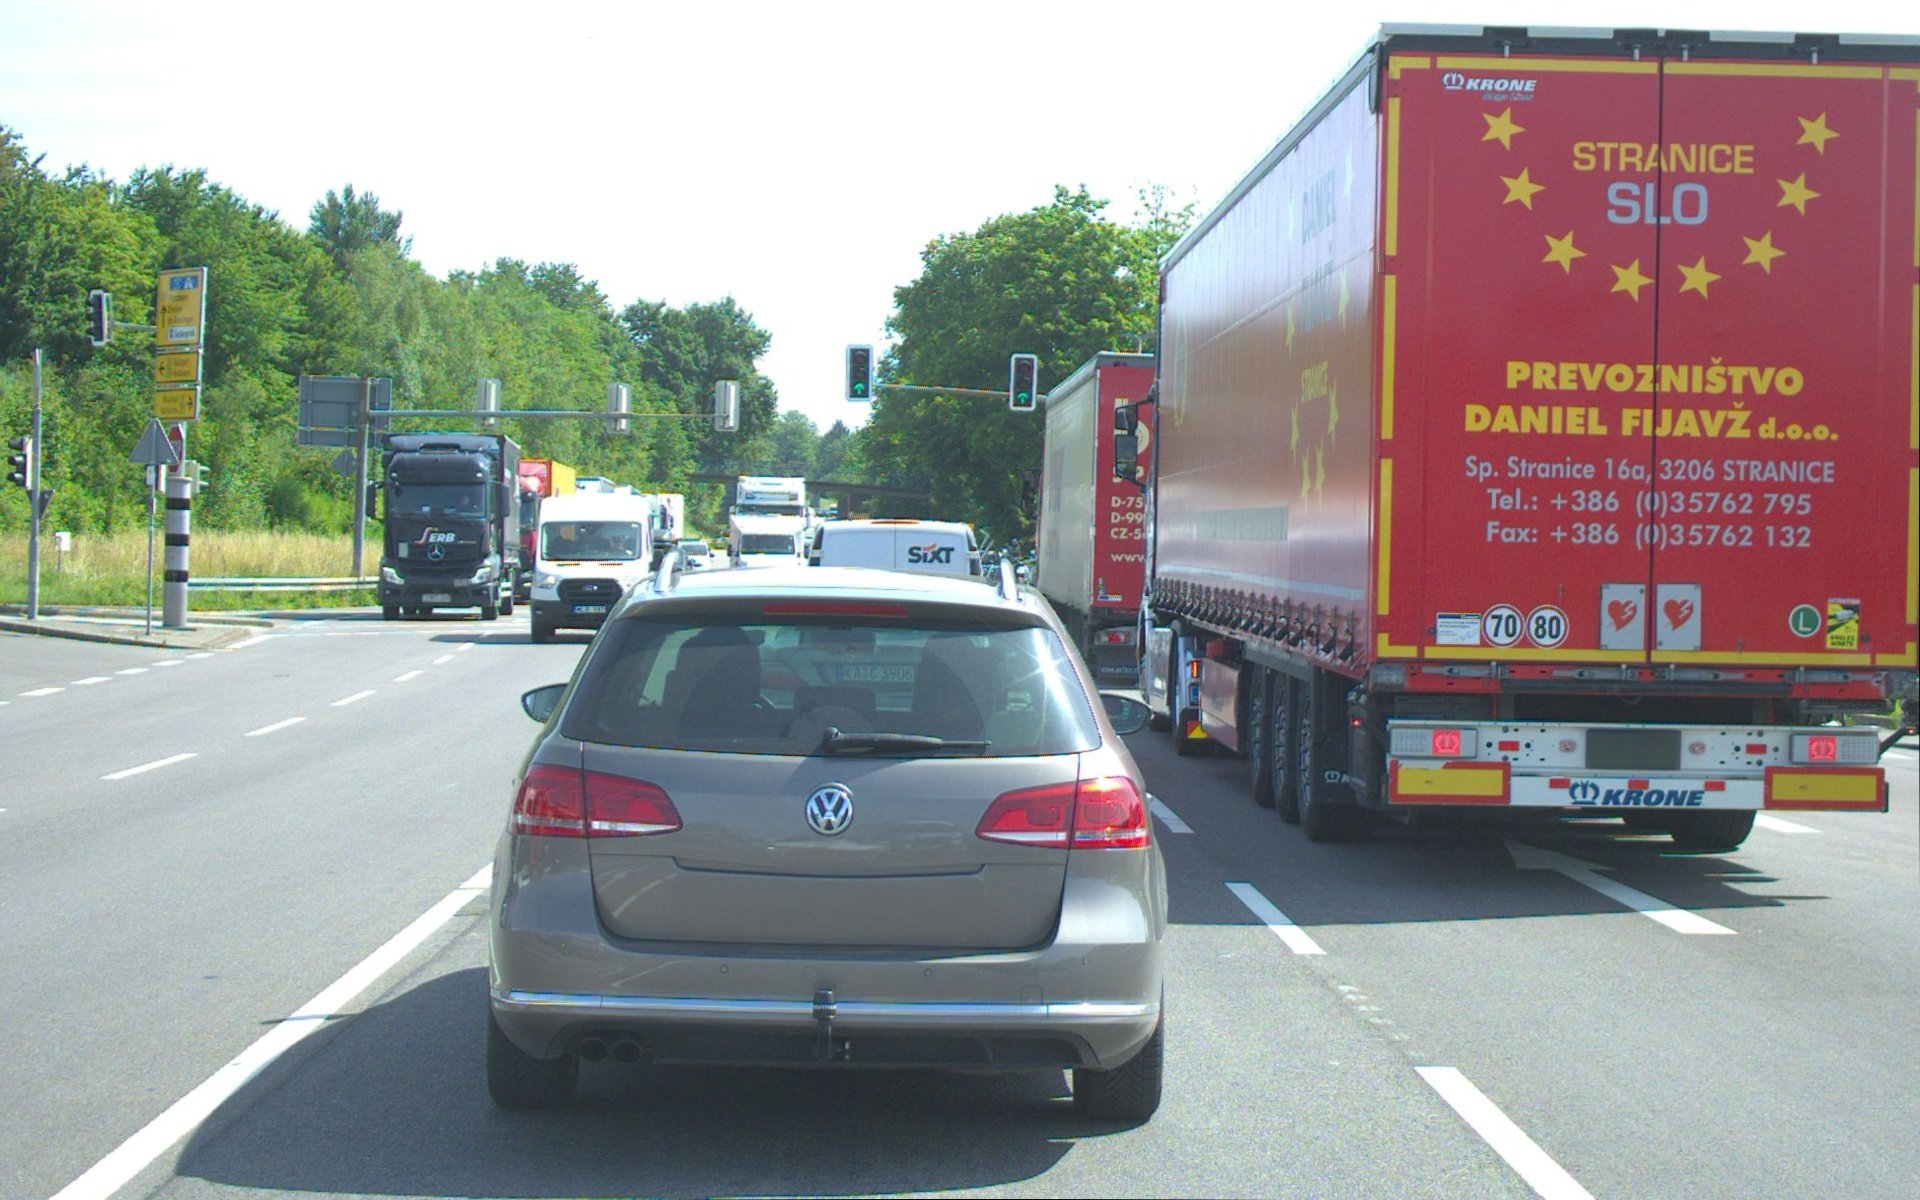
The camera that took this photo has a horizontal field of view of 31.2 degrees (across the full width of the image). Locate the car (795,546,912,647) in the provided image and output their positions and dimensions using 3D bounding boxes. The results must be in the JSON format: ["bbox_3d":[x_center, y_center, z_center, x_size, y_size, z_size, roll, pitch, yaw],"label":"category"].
[{"bbox_3d":[-1.647,-0.058,54.082,1.727,1.514,3.312,1,0,-1],"label":"car"}]

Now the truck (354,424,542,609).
[{"bbox_3d":[-10.943,-1.785,74.149,2.813,3.773,6.990,-1,1,1],"label":"truck"}]

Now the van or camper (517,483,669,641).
[{"bbox_3d":[-6.180,-0.657,58.319,2.173,2.542,4.171,1,1,-1],"label":"van or camper"}]

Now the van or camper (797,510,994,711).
[{"bbox_3d":[-0.665,0.075,35.017,1.852,1.899,3.785,1,1,-1],"label":"van or camper"}]

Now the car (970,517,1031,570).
[{"bbox_3d":[1.221,-1.728,105.636,1.727,1.514,3.312,2,0,-1],"label":"car"}]

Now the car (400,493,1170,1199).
[{"bbox_3d":[-0.337,0.552,9.741,1.790,1.633,3.503,0,1,2],"label":"car"}]

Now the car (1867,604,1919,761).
[{"bbox_3d":[10.750,0.832,31.707,4.197,1.450,1.842,2,1,42],"label":"car"}]

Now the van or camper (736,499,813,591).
[{"bbox_3d":[-5.959,-1.744,110.974,2.224,2.831,5.711,1,0,-1],"label":"van or camper"}]

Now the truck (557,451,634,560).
[{"bbox_3d":[-13.050,-3.347,123.519,2.532,3.773,6.991,-1,1,-5],"label":"truck"}]

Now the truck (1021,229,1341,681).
[{"bbox_3d":[2.727,-1.824,48.562,3.062,5.203,17.008,1,1,-1],"label":"truck"}]

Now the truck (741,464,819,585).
[{"bbox_3d":[-6.532,-2.747,125.781,2.553,4.292,7.596,0,1,-1],"label":"truck"}]

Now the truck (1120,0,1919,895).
[{"bbox_3d":[3.132,-0.946,23.826,2.957,4.255,16.585,1,1,-1],"label":"truck"}]
